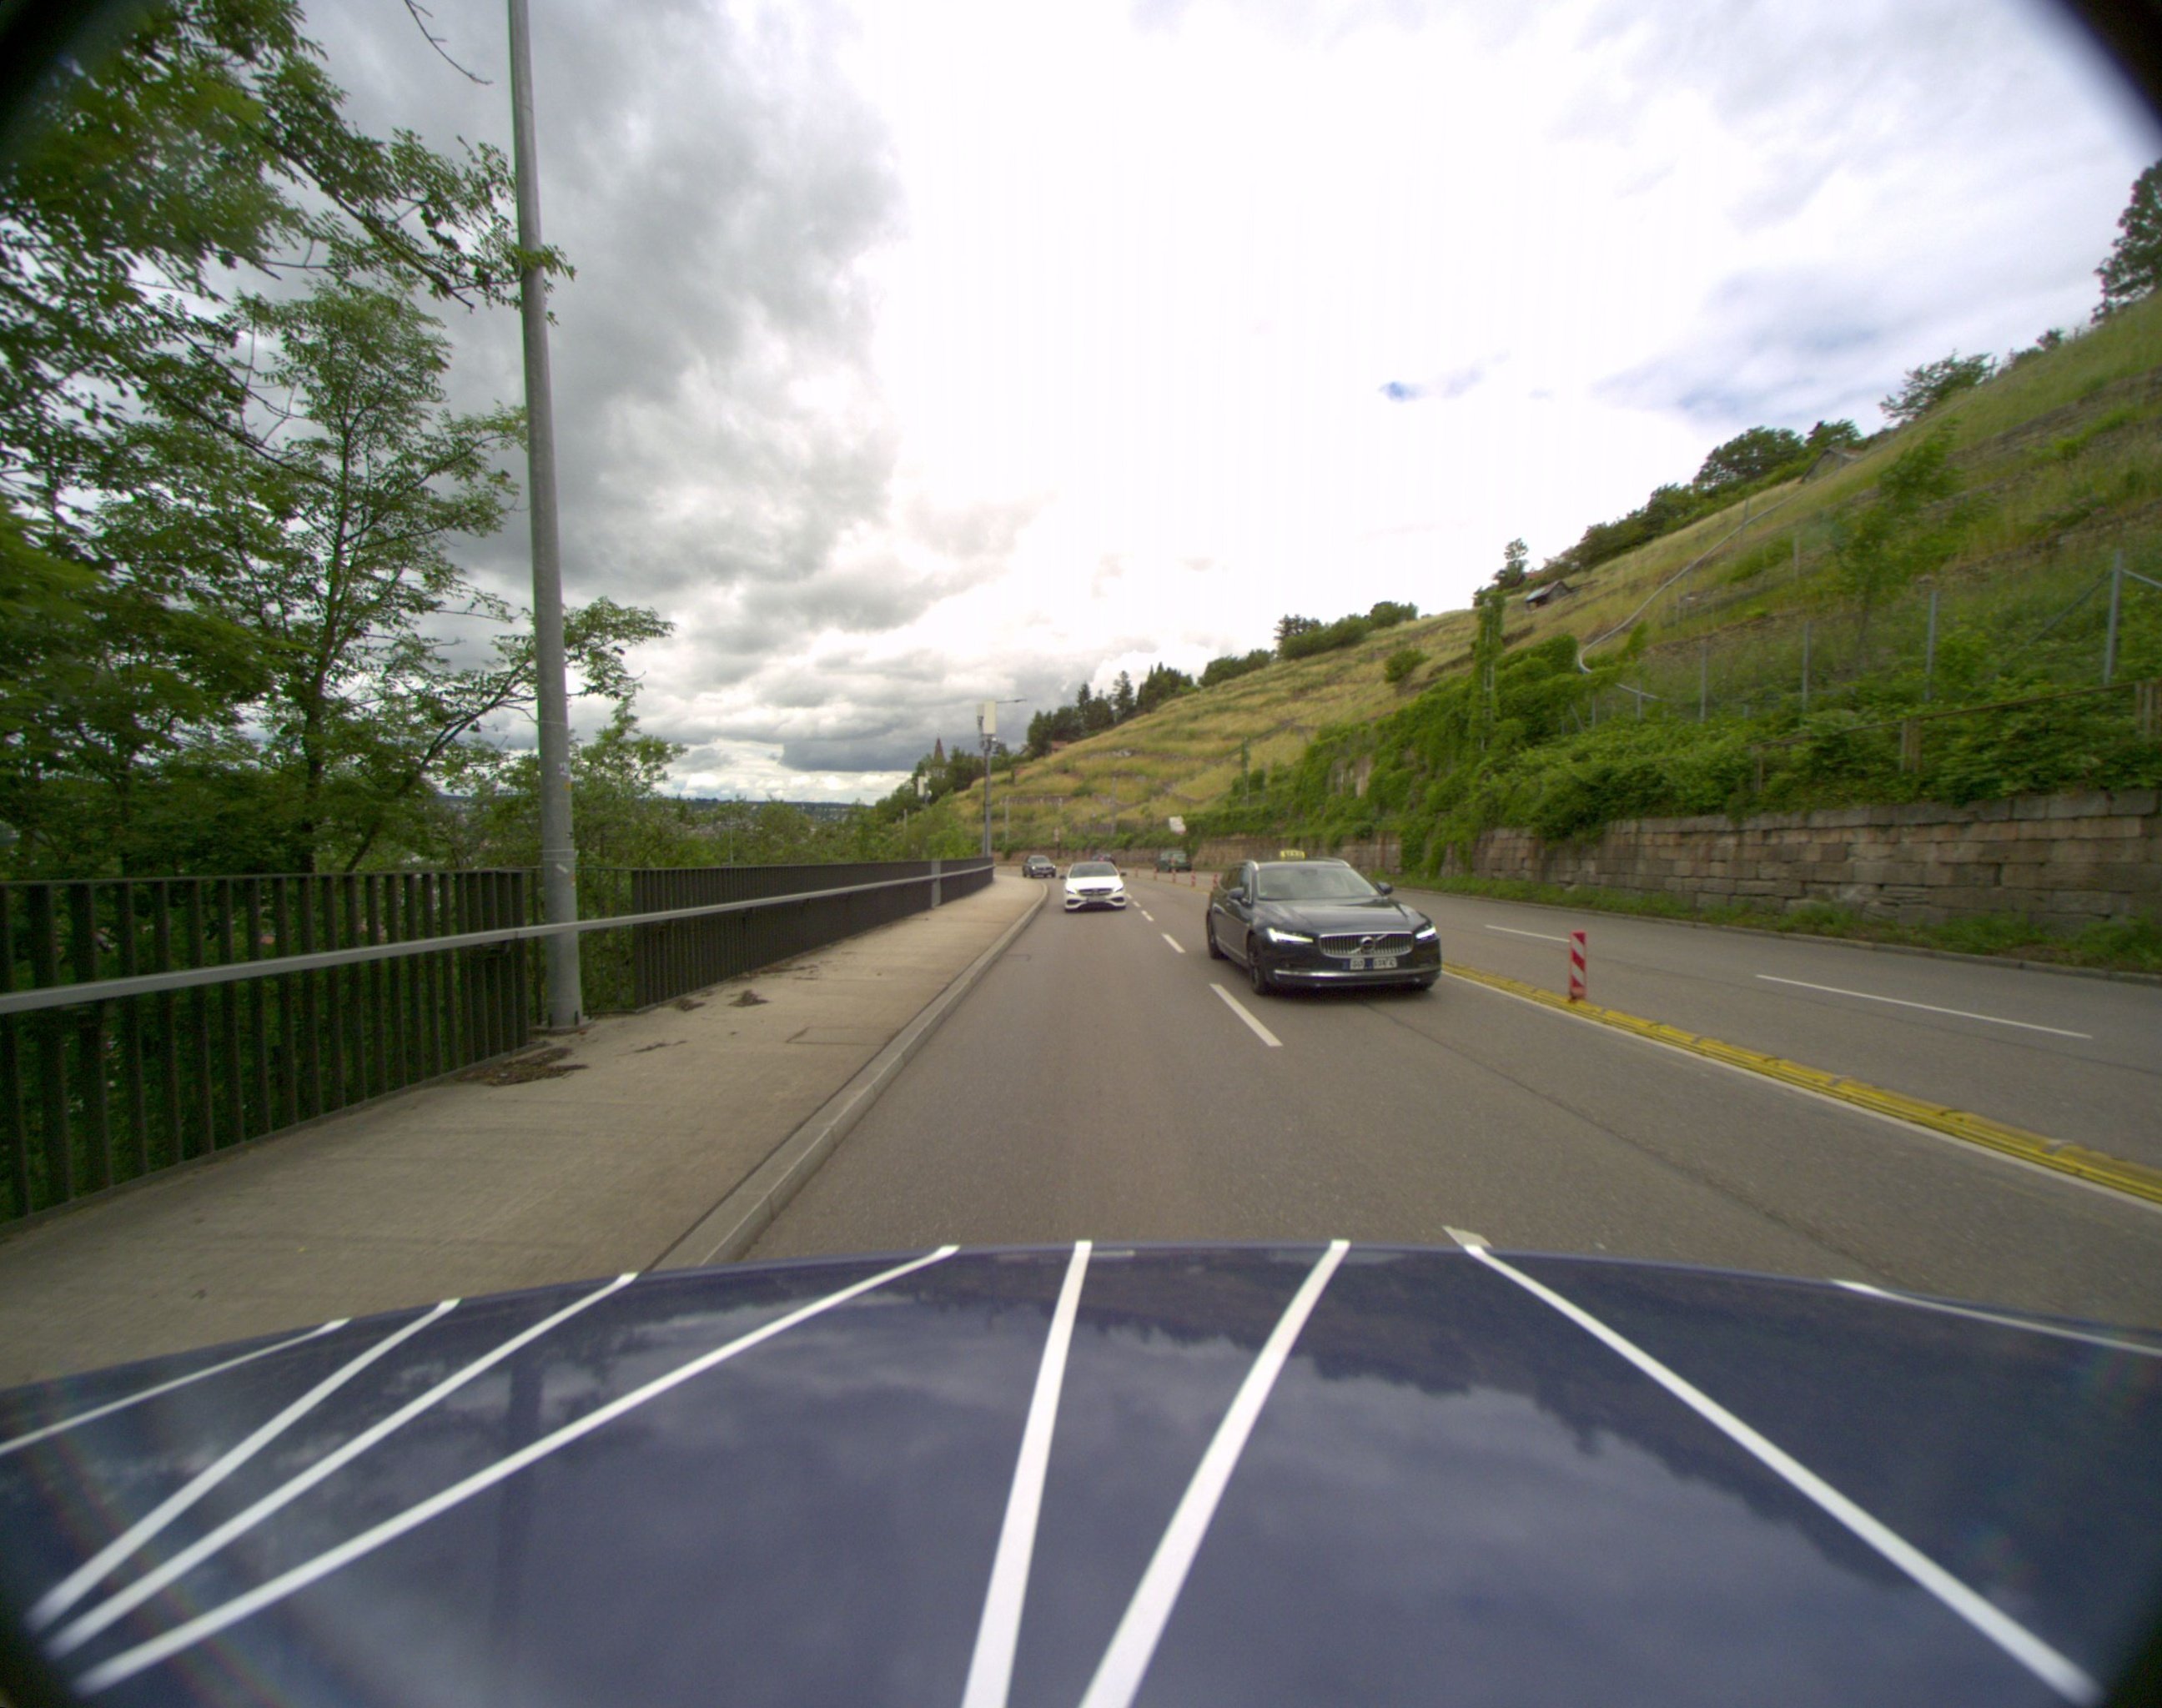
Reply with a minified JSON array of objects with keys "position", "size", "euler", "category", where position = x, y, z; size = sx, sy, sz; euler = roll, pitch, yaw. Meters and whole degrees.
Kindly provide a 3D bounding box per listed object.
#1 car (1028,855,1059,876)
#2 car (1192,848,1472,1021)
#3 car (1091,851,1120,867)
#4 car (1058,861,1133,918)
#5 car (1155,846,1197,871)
[{"position":[-2.789,0.817,55.717],"size":[1.646,1.381,3.996],"euler":[-3,1,-11],"category":"car"},{"position":[2.746,0.754,9.721],"size":[1.939,1.567,5.027],"euler":[-2,0,1],"category":"car"},{"position":[2.264,0.452,70.713],"size":[1.601,1.420,3.995],"euler":[-3,1,-14],"category":"car"},{"position":[0.364,0.993,22.220],"size":[1.903,1.418,4.266],"euler":[-3,-1,0],"category":"car"},{"position":[6.936,0.318,55.768],"size":[1.914,1.682,3.996],"euler":[-3,1,-10],"category":"car"}]
